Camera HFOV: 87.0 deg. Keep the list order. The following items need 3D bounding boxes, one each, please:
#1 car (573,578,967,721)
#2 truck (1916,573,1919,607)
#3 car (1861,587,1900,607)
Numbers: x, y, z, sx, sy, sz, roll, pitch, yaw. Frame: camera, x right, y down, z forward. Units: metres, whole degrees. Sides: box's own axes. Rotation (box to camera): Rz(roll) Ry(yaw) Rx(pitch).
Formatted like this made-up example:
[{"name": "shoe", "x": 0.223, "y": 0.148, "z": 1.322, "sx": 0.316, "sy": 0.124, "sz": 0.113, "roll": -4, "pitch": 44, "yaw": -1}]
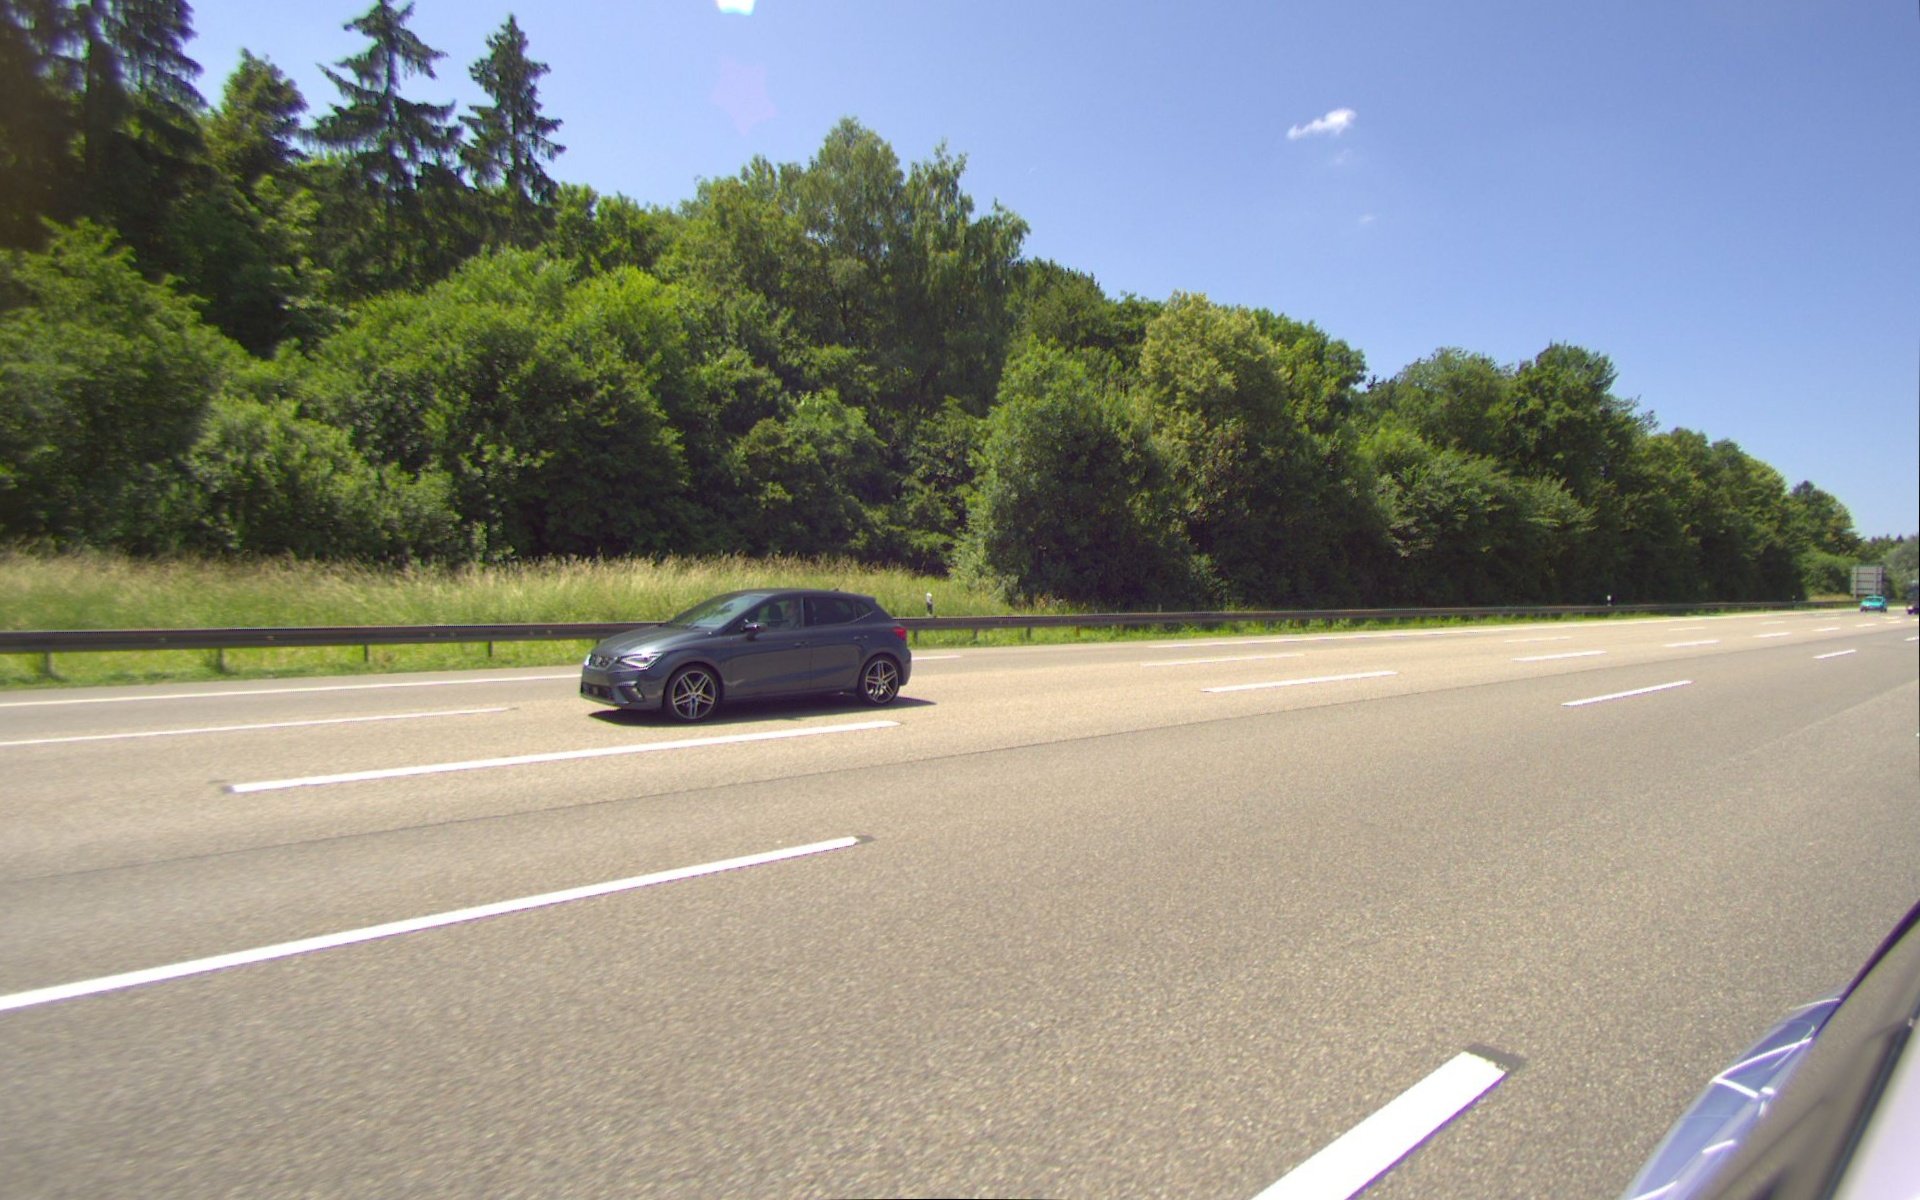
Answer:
[{"name": "car", "x": -2.150, "y": 0.490, "z": 12.384, "sx": 4.554, "sy": 1.457, "sz": 1.646, "roll": 0, "pitch": 0, "yaw": -41}, {"name": "truck", "x": 86.826, "y": -0.840, "z": 88.892, "sx": 10.689, "sy": 2.891, "sz": 2.661, "roll": 0, "pitch": 3, "yaw": -39}, {"name": "car", "x": 83.947, "y": -0.280, "z": 92.263, "sx": 4.053, "sy": 1.701, "sz": 1.999, "roll": 0, "pitch": 3, "yaw": -39}]
